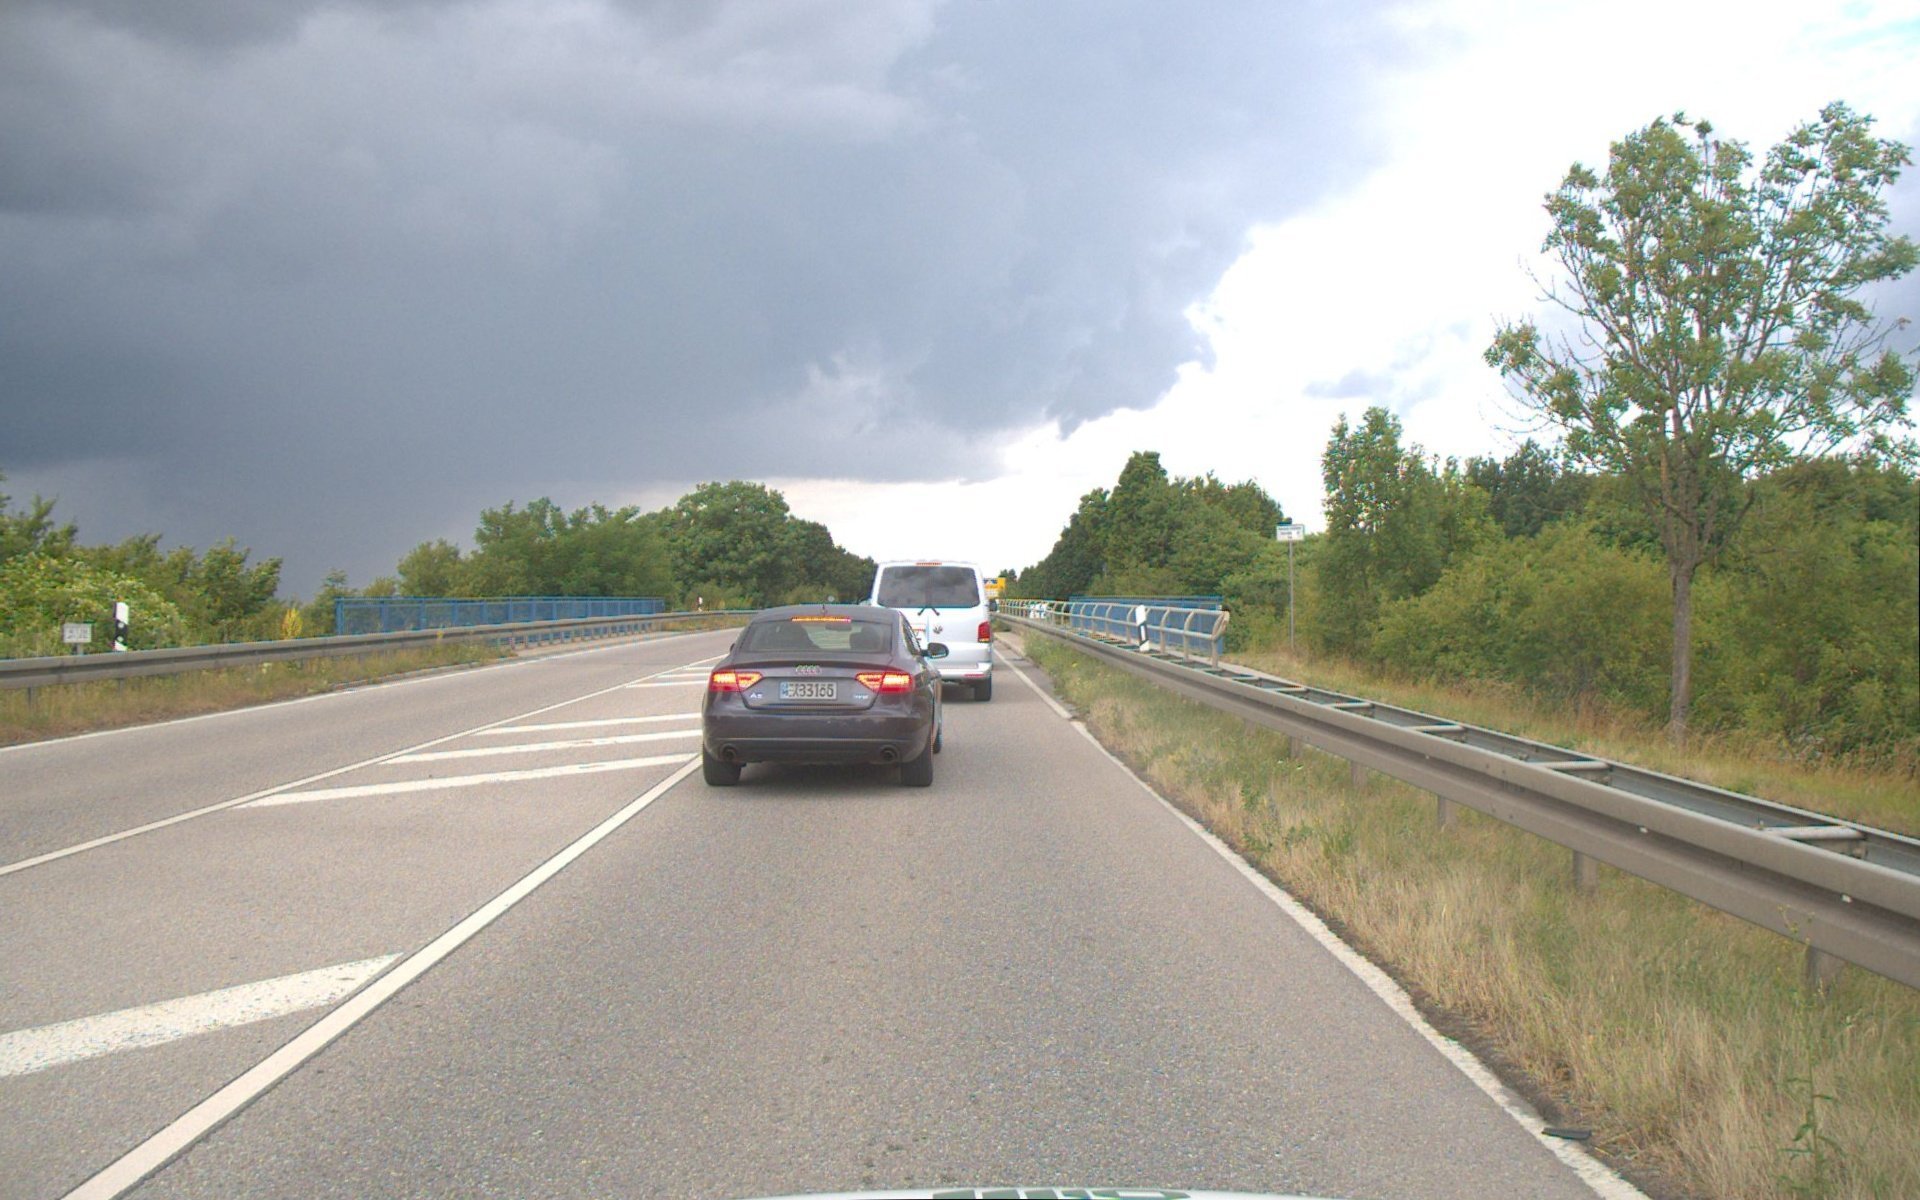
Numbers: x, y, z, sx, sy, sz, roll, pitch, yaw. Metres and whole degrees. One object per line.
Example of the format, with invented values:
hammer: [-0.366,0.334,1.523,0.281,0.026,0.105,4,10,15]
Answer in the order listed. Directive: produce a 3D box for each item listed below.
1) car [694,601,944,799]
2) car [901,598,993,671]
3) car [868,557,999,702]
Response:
car: [-1.035,0.723,13.960,1.784,1.405,4.071,0,0,-1]
car: [-0.237,0.667,34.121,1.784,1.405,4.071,0,0,0]
car: [-0.397,0.406,24.726,1.791,1.969,3.999,0,0,-1]
